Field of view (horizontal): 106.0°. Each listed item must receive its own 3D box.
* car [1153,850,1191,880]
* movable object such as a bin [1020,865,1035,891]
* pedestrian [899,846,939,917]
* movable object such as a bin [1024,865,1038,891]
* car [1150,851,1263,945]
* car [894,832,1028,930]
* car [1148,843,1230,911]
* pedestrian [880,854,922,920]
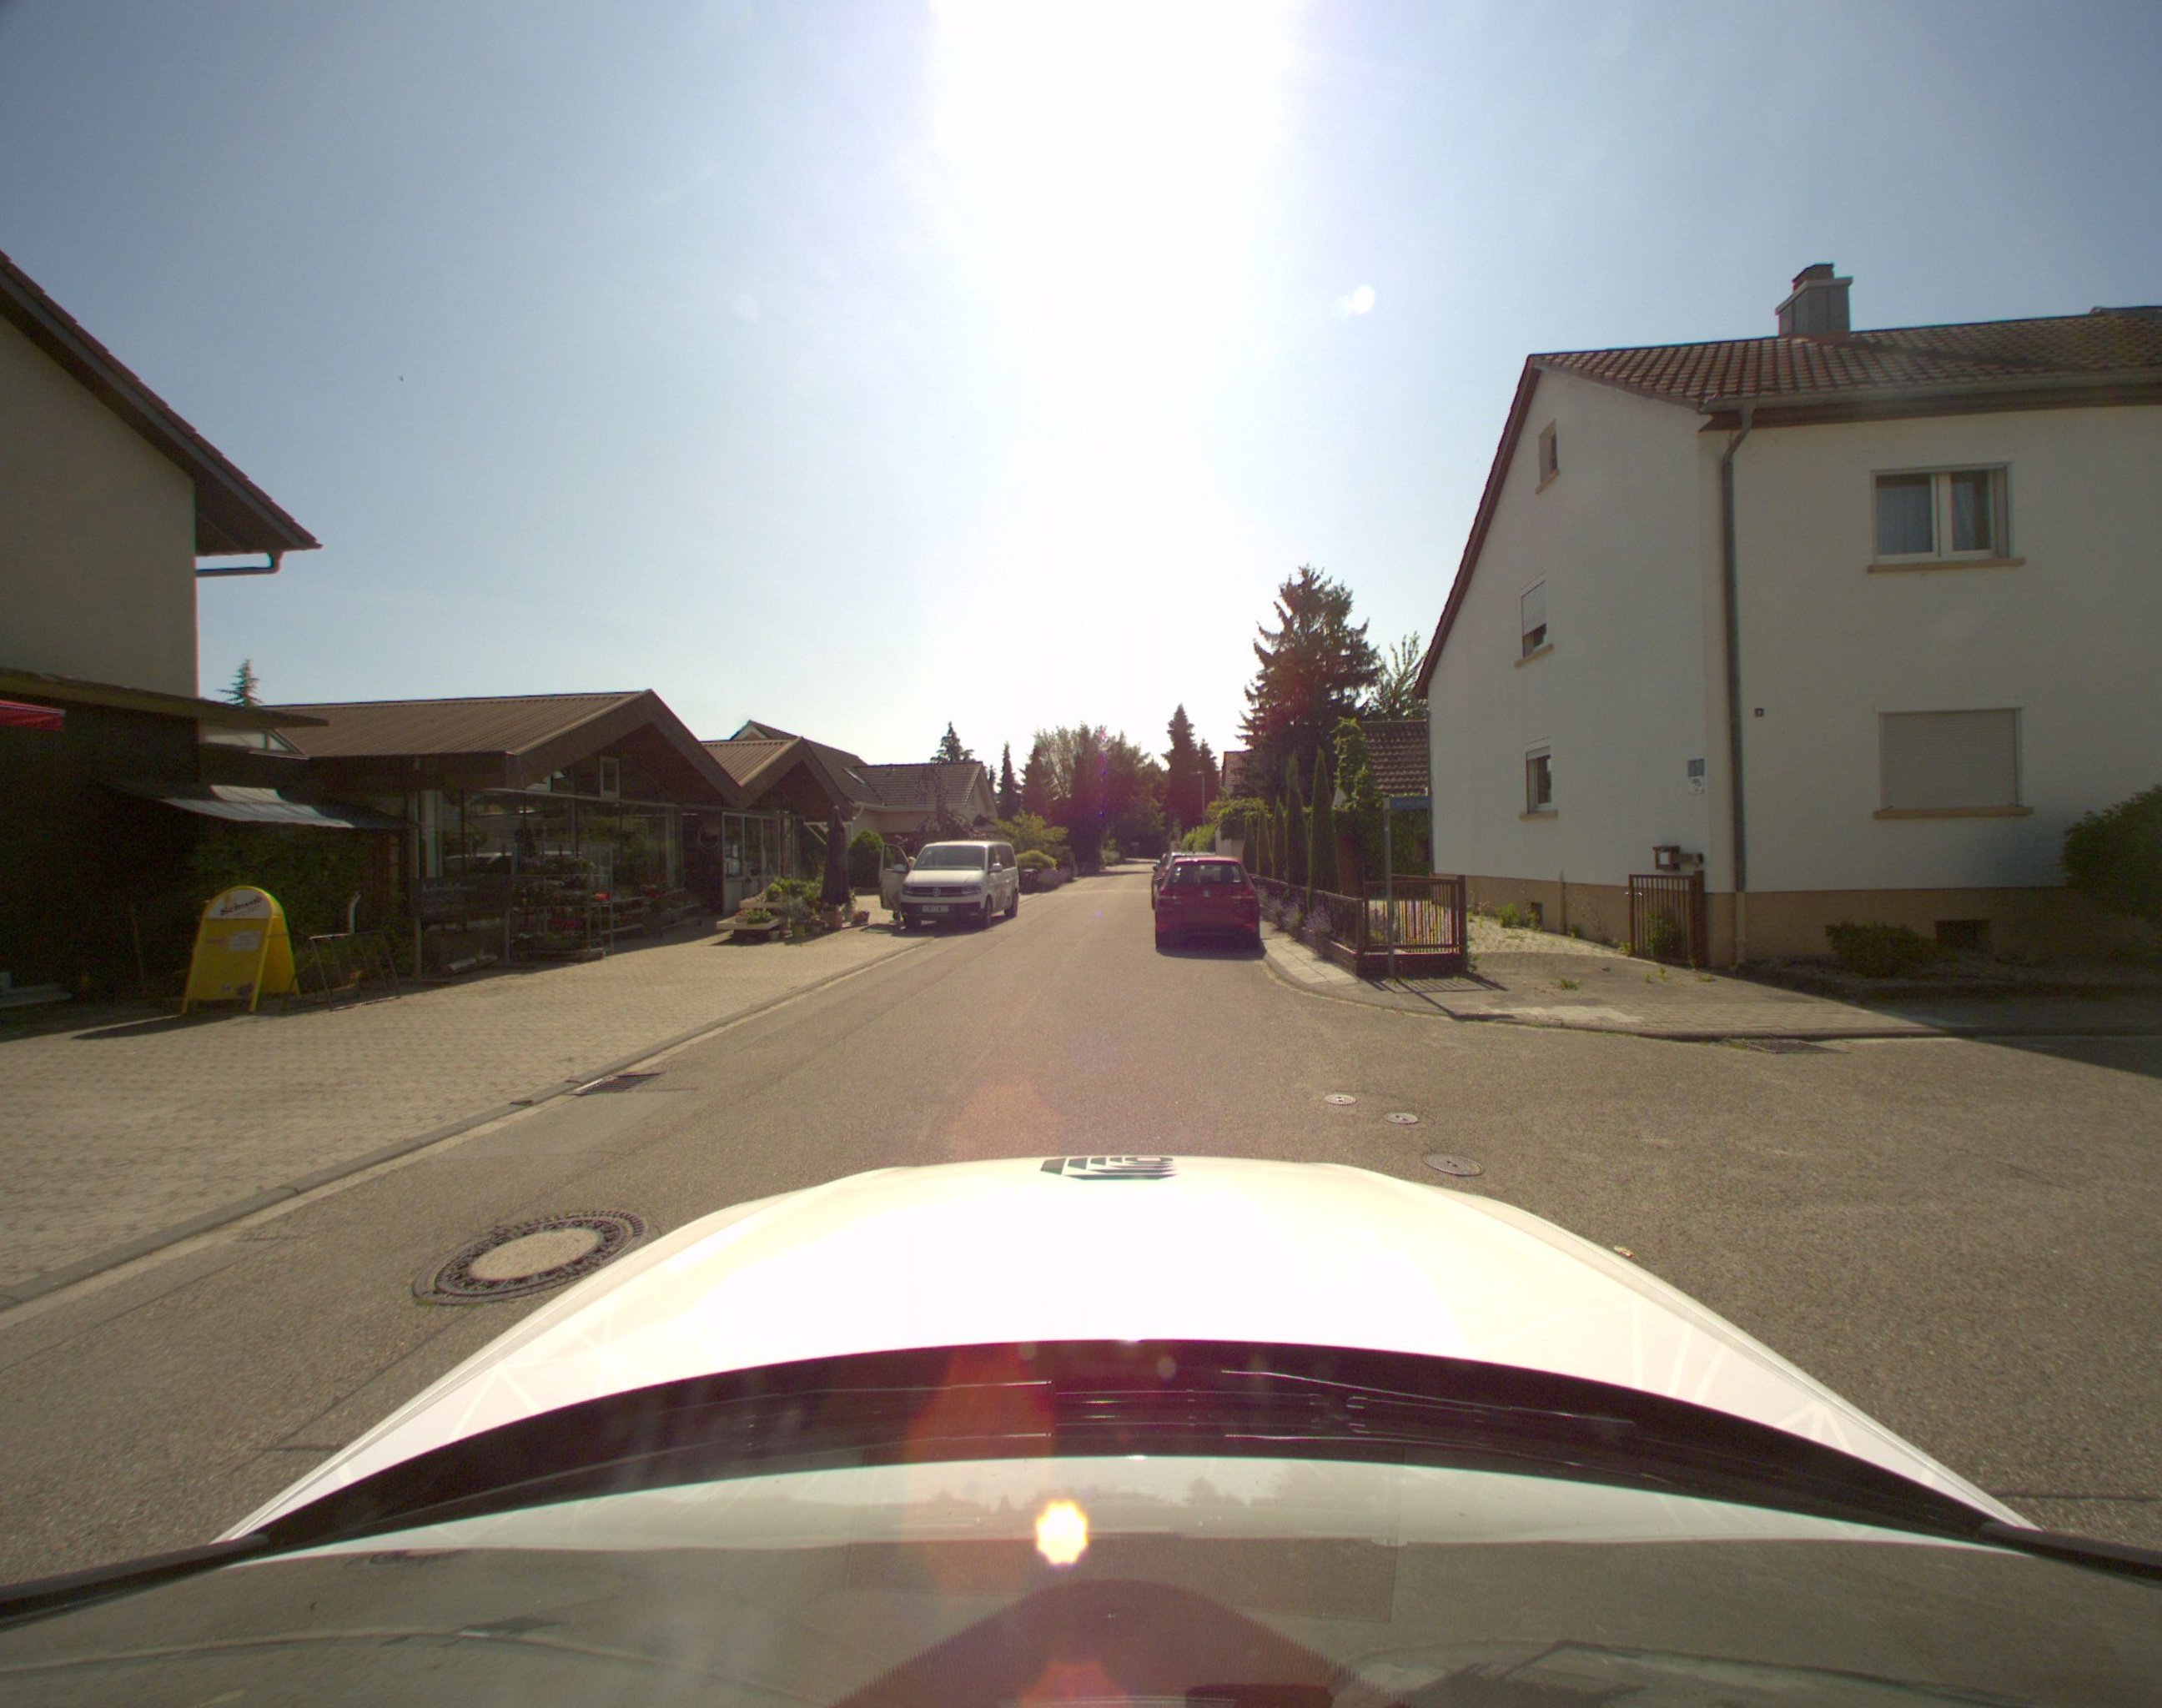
[{"bbox_3d":[4.417,0.515,39.906,1.695,1.399,4.004,-1,0,4],"label":"car"},{"bbox_3d":[-2.162,0.963,32.737,0.492,1.024,0.448,-2,0,5],"label":"movable object such as a bin"},{"bbox_3d":[-4.047,0.668,20.362,0.683,1.731,0.646,-1,1,35],"label":"pedestrian"},{"bbox_3d":[-2.044,0.976,33.194,0.492,1.024,0.448,-2,0,5],"label":"movable object such as a bin"},{"bbox_3d":[2.280,0.689,14.893,1.765,1.479,4.010,0,0,8],"label":"car"},{"bbox_3d":[-2.704,0.564,19.598,1.919,2.013,4.905,-2,0,7],"label":"car"},{"bbox_3d":[2.768,0.557,21.610,1.815,1.615,4.003,-1,0,2],"label":"car"},{"bbox_3d":[-4.299,0.770,19.447,0.710,1.538,0.646,-1,1,38],"label":"pedestrian"}]
